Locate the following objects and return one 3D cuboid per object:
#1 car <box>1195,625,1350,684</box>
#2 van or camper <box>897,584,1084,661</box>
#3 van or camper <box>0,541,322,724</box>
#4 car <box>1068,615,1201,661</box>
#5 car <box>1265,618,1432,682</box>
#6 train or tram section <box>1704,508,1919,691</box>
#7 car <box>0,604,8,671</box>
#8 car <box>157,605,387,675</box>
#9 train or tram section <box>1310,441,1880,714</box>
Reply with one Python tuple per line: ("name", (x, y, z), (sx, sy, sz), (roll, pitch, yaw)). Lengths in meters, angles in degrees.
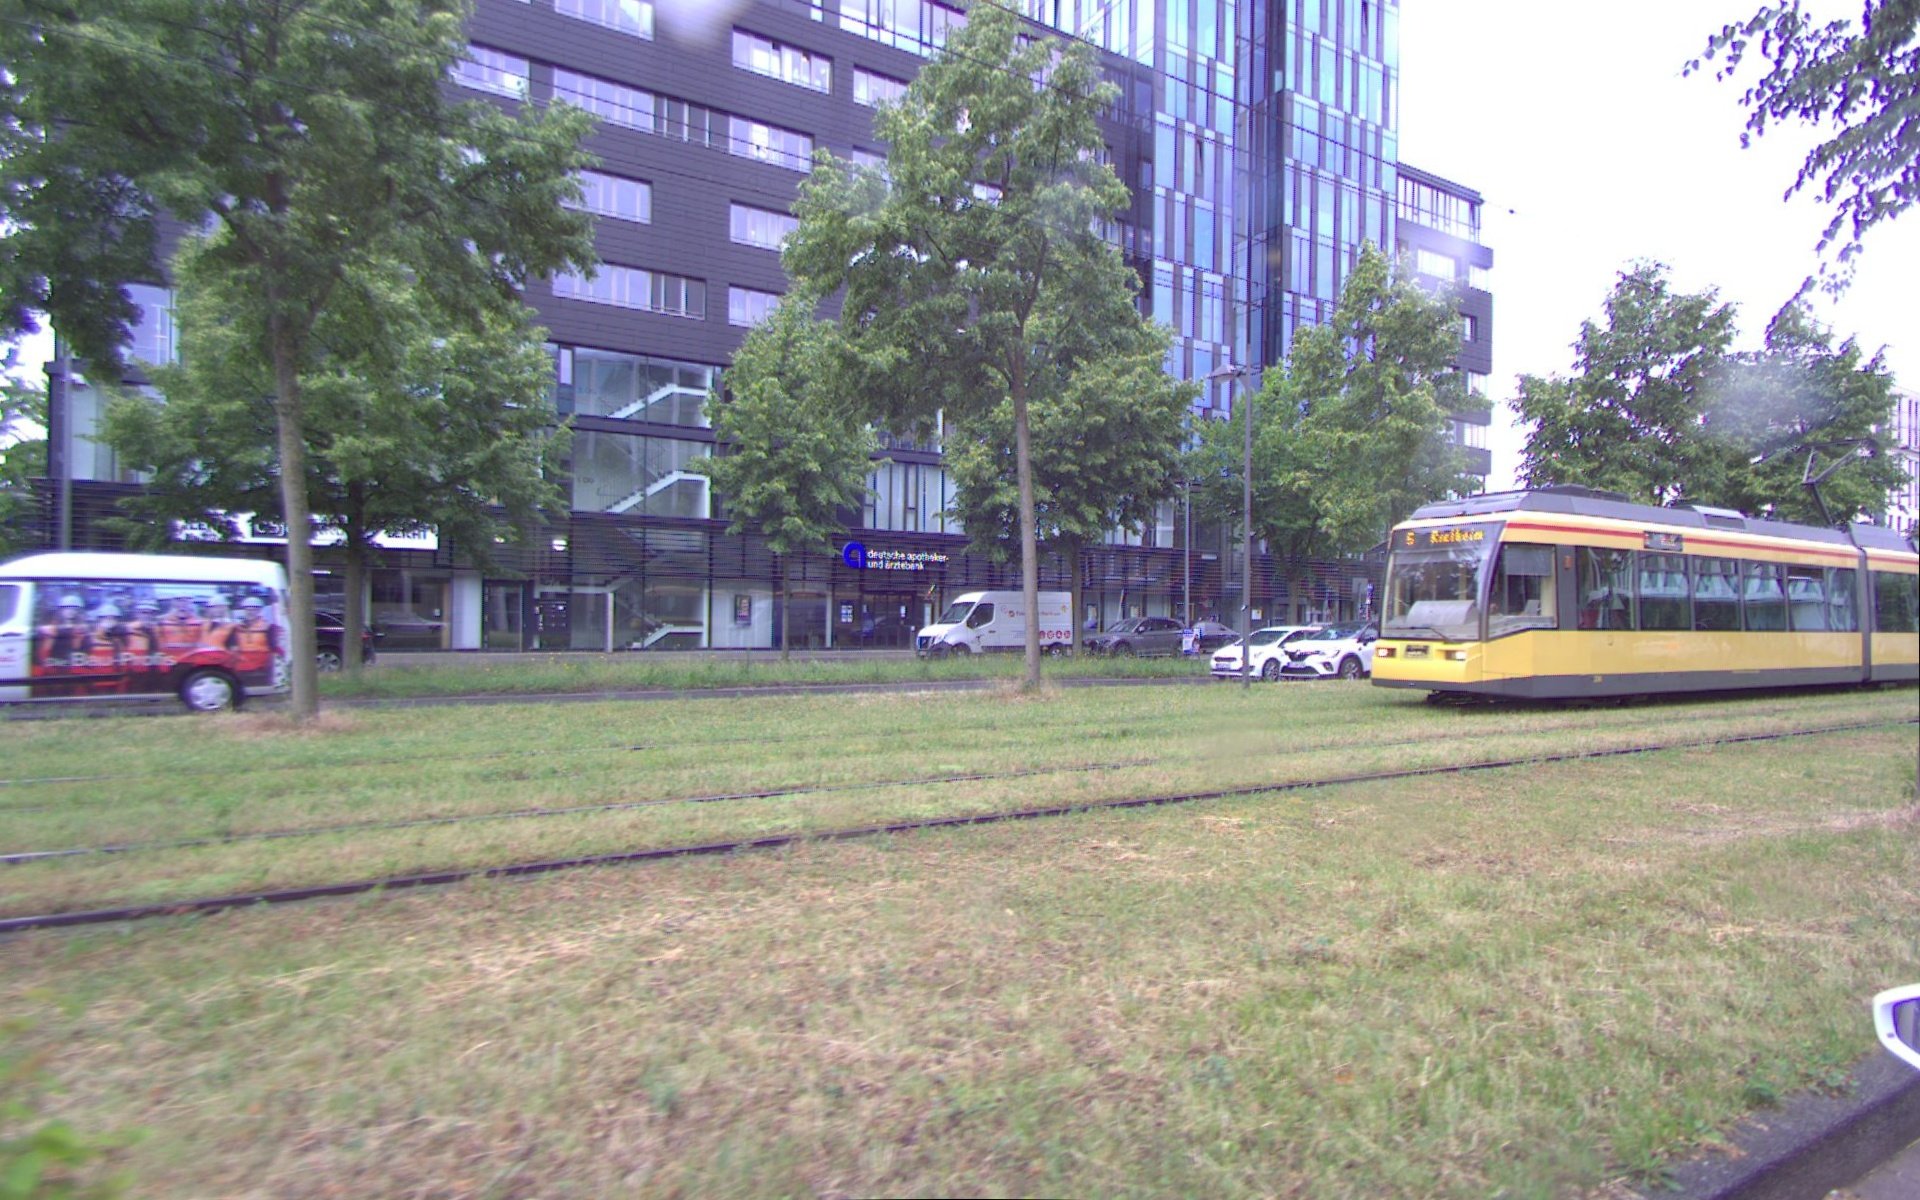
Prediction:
("car", (8.510, 1.441, 27.297), (3.953, 1.479, 1.876), (1, -1, -30))
("van or camper", (1.041, 0.734, 33.075), (5.781, 2.346, 2.421), (1, -1, -30))
("van or camper", (-12.582, 0.461, 14.686), (5.338, 2.442, 1.900), (1, -1, -30))
("car", (6.296, 1.342, 36.123), (4.555, 1.542, 1.983), (1, -1, -32))
("car", (9.424, 1.175, 24.325), (3.953, 1.423, 1.702), (1, -1, -30))
("train or tram section", (24.335, 0.130, 25.586), (14.888, 3.707, 3.114), (1, 0, -31))
("car", (-21.396, 0.743, 19.414), (3.953, 1.397, 1.984), (1, 0, -30))
("car", (-15.576, 0.887, 23.031), (4.192, 1.469, 1.694), (1, 0, -30))
("train or tram section", (12.201, -0.179, 18.381), (13.249, 3.707, 3.114), (1, 0, -31))
